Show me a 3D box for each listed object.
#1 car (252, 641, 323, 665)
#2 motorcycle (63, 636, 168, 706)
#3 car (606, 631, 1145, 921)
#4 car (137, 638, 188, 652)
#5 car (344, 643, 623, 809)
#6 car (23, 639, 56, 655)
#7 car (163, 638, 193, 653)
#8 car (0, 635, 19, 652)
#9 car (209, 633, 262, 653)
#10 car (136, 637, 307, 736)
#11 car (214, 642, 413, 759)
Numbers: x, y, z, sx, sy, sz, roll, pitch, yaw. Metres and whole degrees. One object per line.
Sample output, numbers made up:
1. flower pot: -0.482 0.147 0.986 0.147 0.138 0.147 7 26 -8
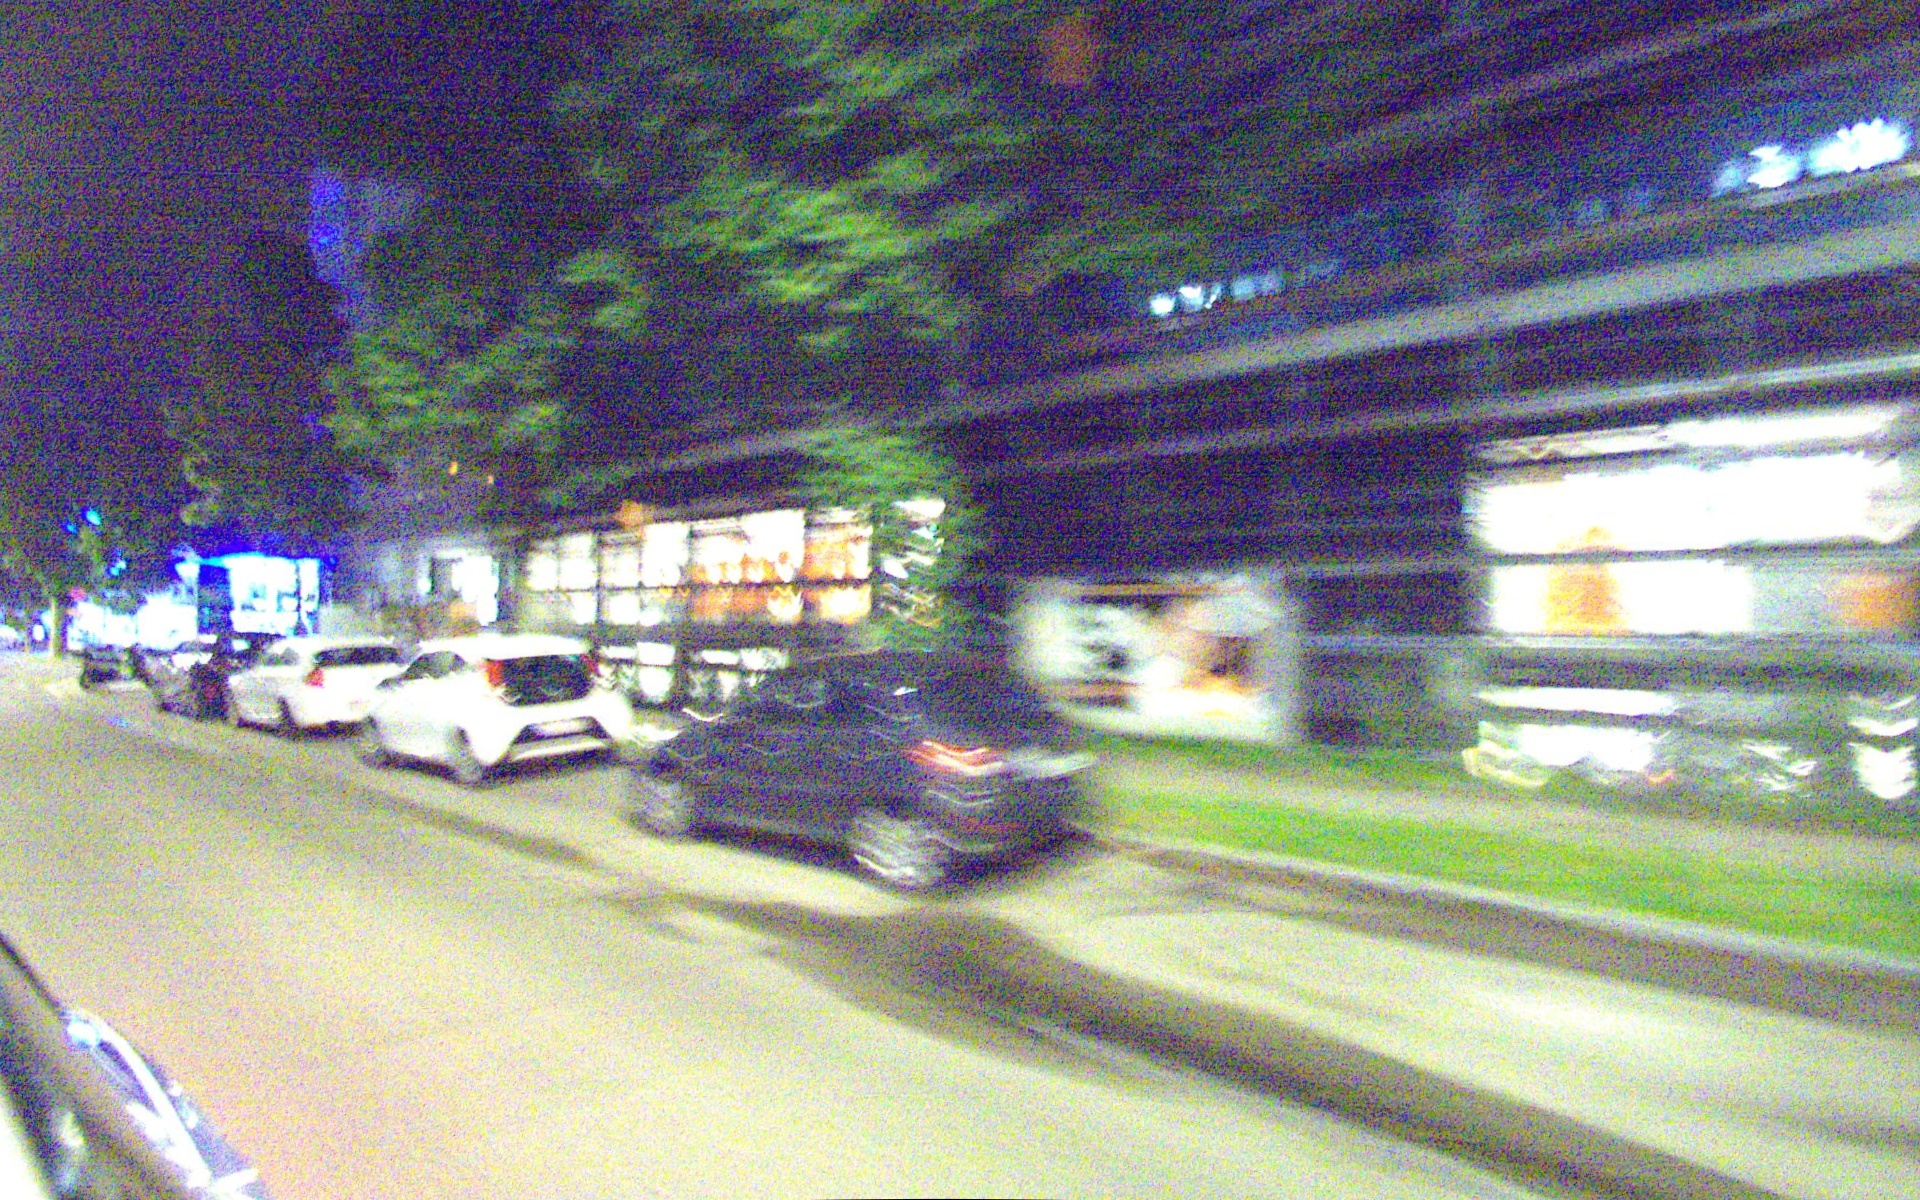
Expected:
1. car: -45.976 3.595 69.226 1.669 1.544 3.711 -2 -2 40
2. motorcycle: -20.634 1.697 24.762 0.635 1.561 1.894 -1 0 21
3. car: -0.784 1.042 7.329 3.858 1.516 1.629 -3 -2 40
4. car: -87.319 4.925 110.816 1.716 1.489 4.256 -1 -1 13
5. car: -5.345 1.252 11.201 3.366 1.466 1.532 -2 0 40
6. car: -87.984 4.440 96.742 4.067 1.472 1.840 -2 -2 40
7. car: -80.868 4.669 104.624 4.084 1.489 1.710 -2 -2 41
8. car: -96.787 4.337 101.334 1.633 1.712 3.529 -1 -3 40
9. car: -72.705 4.314 101.598 1.852 1.873 4.030 -1 -2 41
10. car: -13.431 1.480 18.333 3.901 1.516 1.626 -2 0 40
11. car: -9.809 1.407 15.243 3.901 1.440 1.430 -2 1 40
